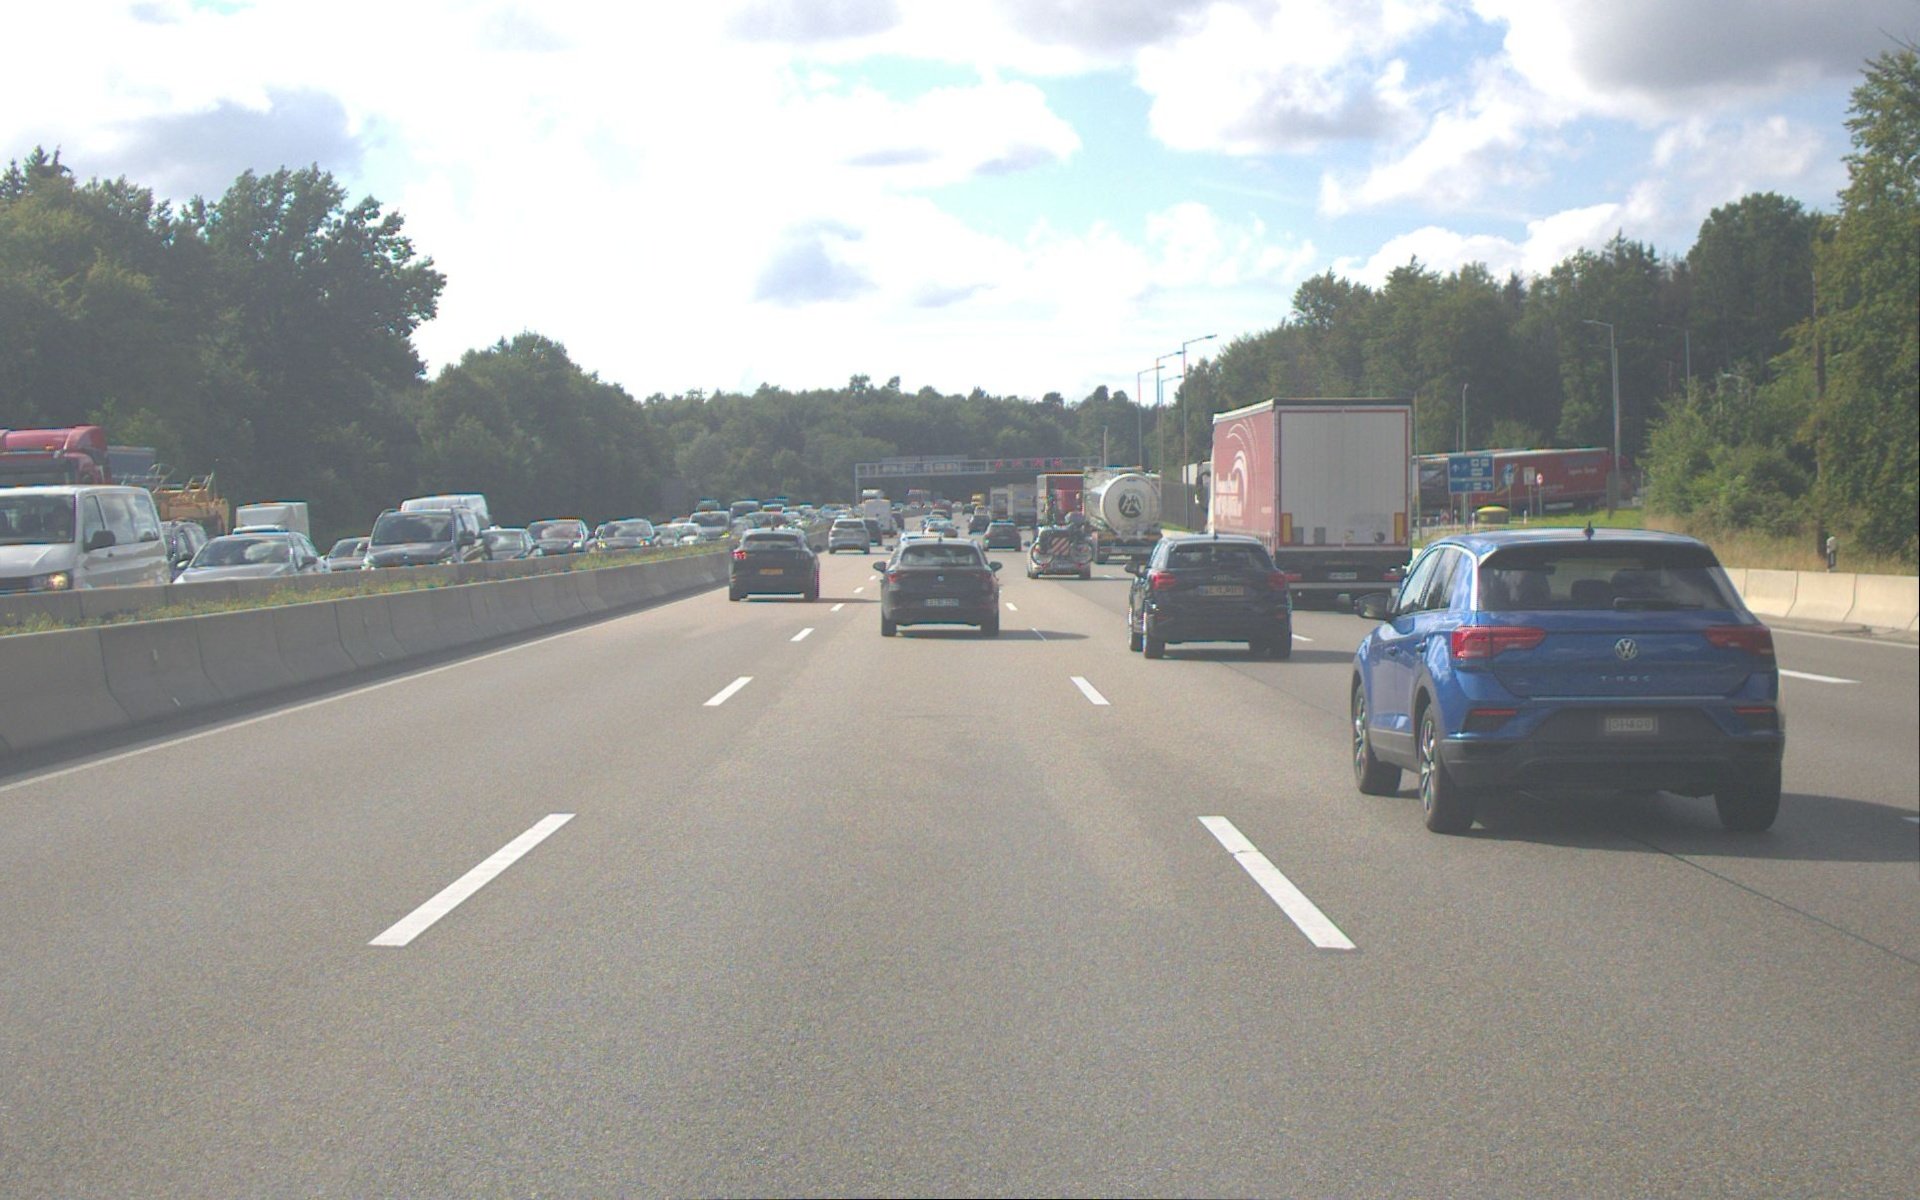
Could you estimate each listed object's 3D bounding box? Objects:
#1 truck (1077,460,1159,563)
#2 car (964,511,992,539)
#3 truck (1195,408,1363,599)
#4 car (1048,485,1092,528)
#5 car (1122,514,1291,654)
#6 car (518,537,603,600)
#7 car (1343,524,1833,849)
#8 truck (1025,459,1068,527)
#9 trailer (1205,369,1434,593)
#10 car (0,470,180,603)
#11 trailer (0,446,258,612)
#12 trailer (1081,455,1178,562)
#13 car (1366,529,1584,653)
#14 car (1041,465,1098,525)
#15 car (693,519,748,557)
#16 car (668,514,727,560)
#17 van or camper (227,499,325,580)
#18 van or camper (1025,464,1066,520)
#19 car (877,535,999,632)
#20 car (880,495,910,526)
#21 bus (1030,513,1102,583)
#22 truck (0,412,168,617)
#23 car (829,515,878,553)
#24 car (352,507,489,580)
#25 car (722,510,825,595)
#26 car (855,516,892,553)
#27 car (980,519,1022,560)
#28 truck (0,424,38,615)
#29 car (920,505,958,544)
[{"bbox_3d":[6.499,-3.626,142.200,3.045,4.146,7.127,0,1,0],"label":"truck"},{"bbox_3d":[1.333,-5.534,254.220,1.993,2.007,4.000,1,1,0],"label":"car"},{"bbox_3d":[7.025,-2.060,76.464,3.080,4.049,6.070,0,0,0],"label":"truck"},{"bbox_3d":[5.441,-4.611,170.734,1.993,2.007,4.000,0,0,0],"label":"car"},{"bbox_3d":[3.010,-0.213,42.668,1.799,1.639,4.000,1,1,0],"label":"car"},{"bbox_3d":[-10.636,-0.856,91.785,1.836,1.585,4.289,1,1,-1],"label":"car"},{"bbox_3d":[3.276,0.402,18.855,1.924,1.536,4.645,1,0,1],"label":"car"},{"bbox_3d":[4.927,-6.089,198.090,2.358,3.560,11.266,0,0,1],"label":"truck"},{"bbox_3d":[7.052,-2.186,69.672,3.038,4.021,13.890,0,0,0],"label":"trailer"},{"bbox_3d":[-10.087,-0.651,37.844,1.849,1.350,5.489,0,0,-1],"label":"car"},{"bbox_3d":[-18.289,-1.637,76.607,2.727,3.324,14.222,0,2,-1],"label":"trailer"},{"bbox_3d":[6.574,-3.510,135.376,3.036,4.002,12.246,0,1,-1],"label":"trailer"},{"bbox_3d":[6.618,-0.141,44.613,1.714,1.506,4.303,-1,1,-7],"label":"car"},{"bbox_3d":[5.731,-5.504,180.983,2.866,2.981,5.149,0,0,1],"label":"car"},{"bbox_3d":[-10.348,-2.684,148.843,1.993,1.567,4.816,0,2,1],"label":"car"},{"bbox_3d":[-10.435,-2.519,136.879,1.993,1.729,5.091,1,1,-1],"label":"car"},{"bbox_3d":[-26.634,-2.359,134.130,2.572,3.066,7.197,0,1,-1],"label":"van or camper"},{"bbox_3d":[5.055,-6.386,204.619,2.351,3.133,5.710,0,0,1],"label":"van or camper"},{"bbox_3d":[-0.367,-0.253,51.369,1.734,1.360,4.000,1,0,-1],"label":"car"},{"bbox_3d":[-4.380,-6.058,232.376,1.993,2.007,4.000,1,1,0],"label":"car"},{"bbox_3d":[3.131,-1.536,102.362,1.993,2.007,4.000,0,0,0],"label":"bus"},{"bbox_3d":[-18.129,-1.727,69.561,2.775,3.924,6.854,0,1,-1],"label":"truck"},{"bbox_3d":[-5.050,-3.124,163.501,2.154,1.770,4.000,1,1,0],"label":"car"},{"bbox_3d":[-10.480,-1.121,67.202,1.814,1.344,6.234,1,1,-1],"label":"car"},{"bbox_3d":[-4.069,-1.060,75.568,1.993,1.770,4.000,1,1,0],"label":"car"},{"bbox_3d":[-4.844,-3.711,193.715,1.993,2.007,4.000,1,1,0],"label":"car"},{"bbox_3d":[2.018,-2.982,170.369,1.993,2.007,4.000,1,1,0],"label":"car"},{"bbox_3d":[-22.533,-1.797,76.145,2.811,4.136,5.453,1,-1,-1],"label":"truck"},{"bbox_3d":[-1.145,-4.133,187.765,1.993,2.007,4.000,-1,0,0],"label":"car"}]
